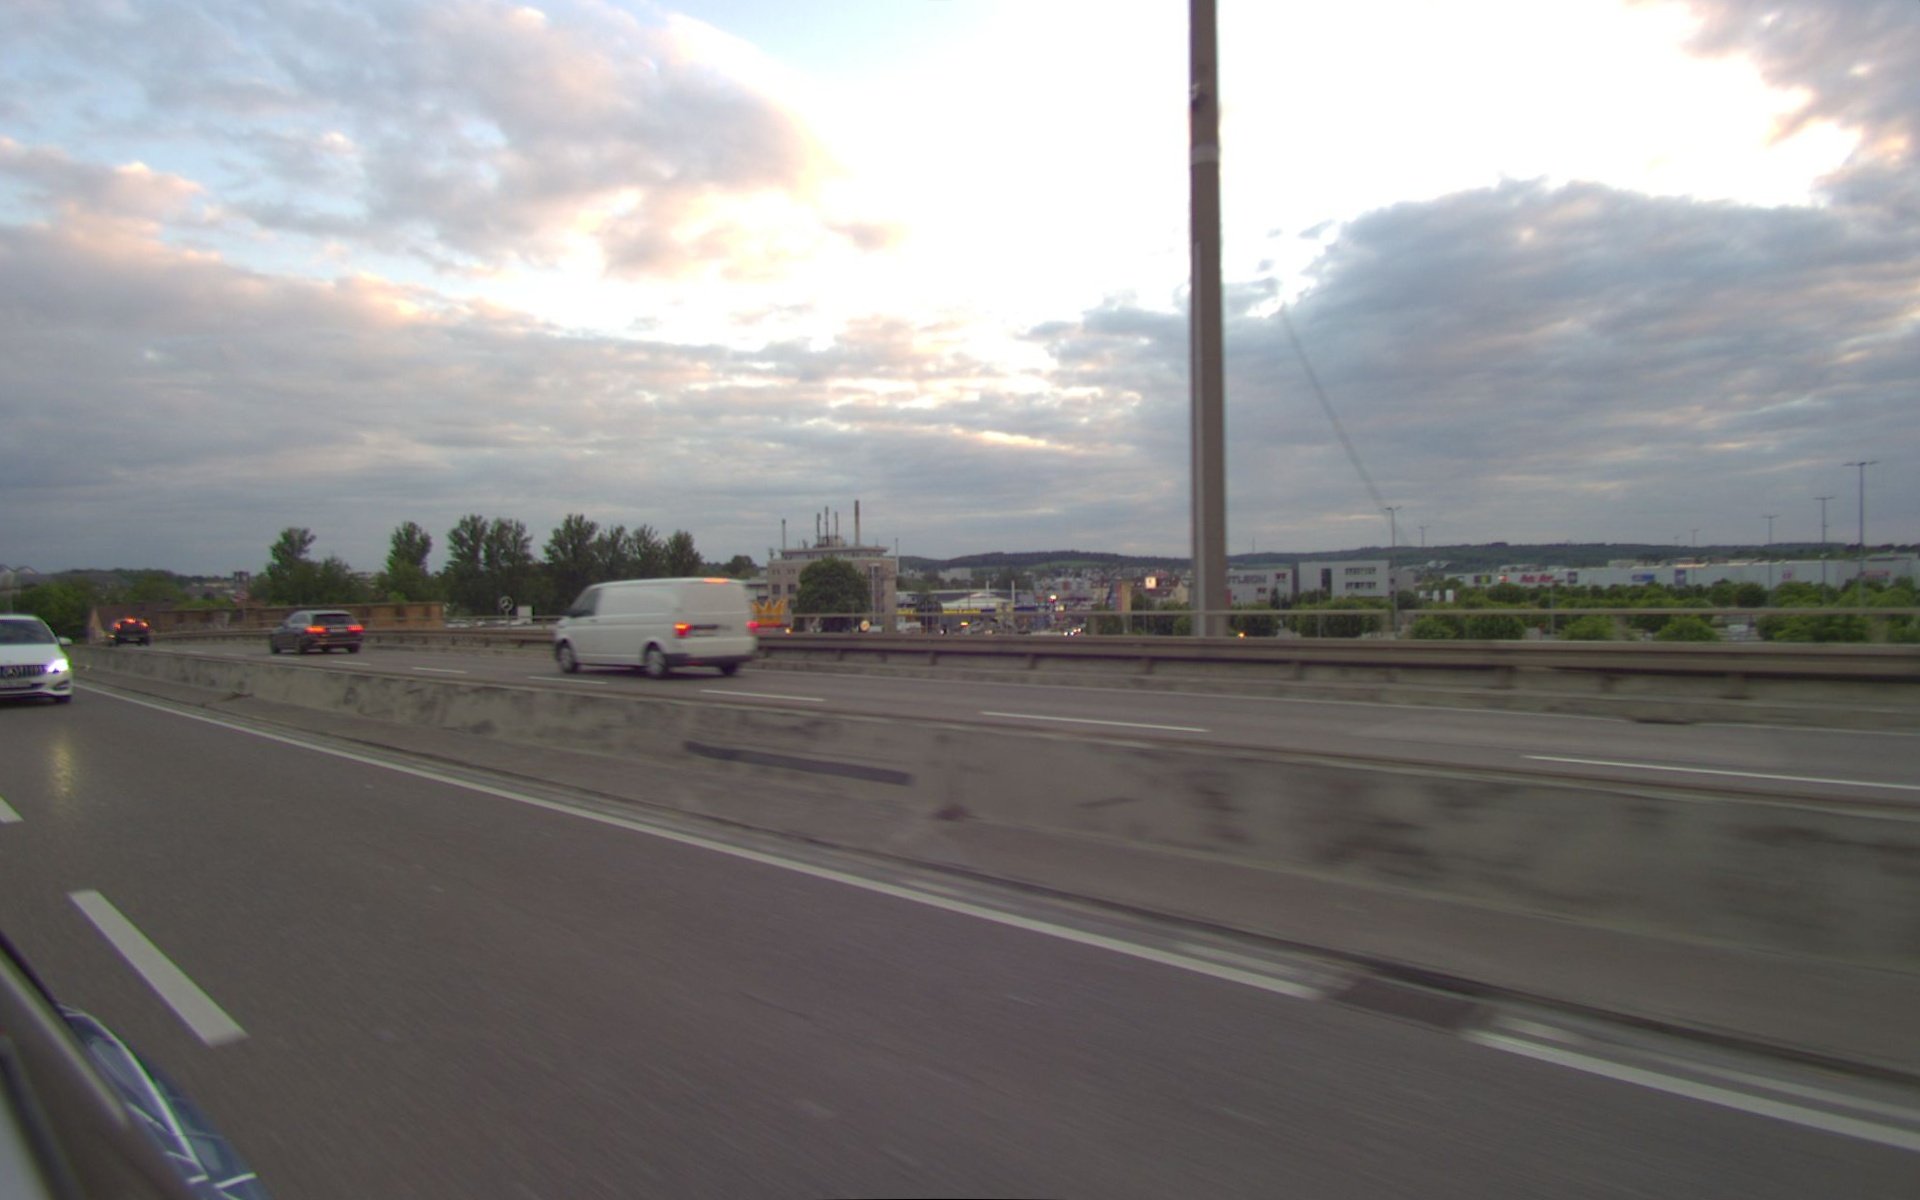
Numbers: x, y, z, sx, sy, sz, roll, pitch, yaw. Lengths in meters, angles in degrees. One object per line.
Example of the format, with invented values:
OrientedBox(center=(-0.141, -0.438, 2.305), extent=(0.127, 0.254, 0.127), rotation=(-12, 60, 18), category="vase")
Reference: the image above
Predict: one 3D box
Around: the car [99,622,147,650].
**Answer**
OrientedBox(center=(-50.147, 2.146, 60.622), extent=(4.042, 1.606, 1.639), rotation=(-1, -1, 42), category="car")

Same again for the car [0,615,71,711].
OrientedBox(center=(-17.418, 1.126, 18.133), extent=(4.781, 1.549, 1.673), rotation=(-3, -1, 42), category="car")

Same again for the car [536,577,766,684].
OrientedBox(center=(-6.447, 0.590, 20.700), extent=(5.456, 1.915, 1.881), rotation=(-1, -1, 41), category="car")

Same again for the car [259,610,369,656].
OrientedBox(center=(-22.514, 1.152, 35.190), extent=(4.896, 1.485, 1.810), rotation=(-2, -1, 40), category="car")
